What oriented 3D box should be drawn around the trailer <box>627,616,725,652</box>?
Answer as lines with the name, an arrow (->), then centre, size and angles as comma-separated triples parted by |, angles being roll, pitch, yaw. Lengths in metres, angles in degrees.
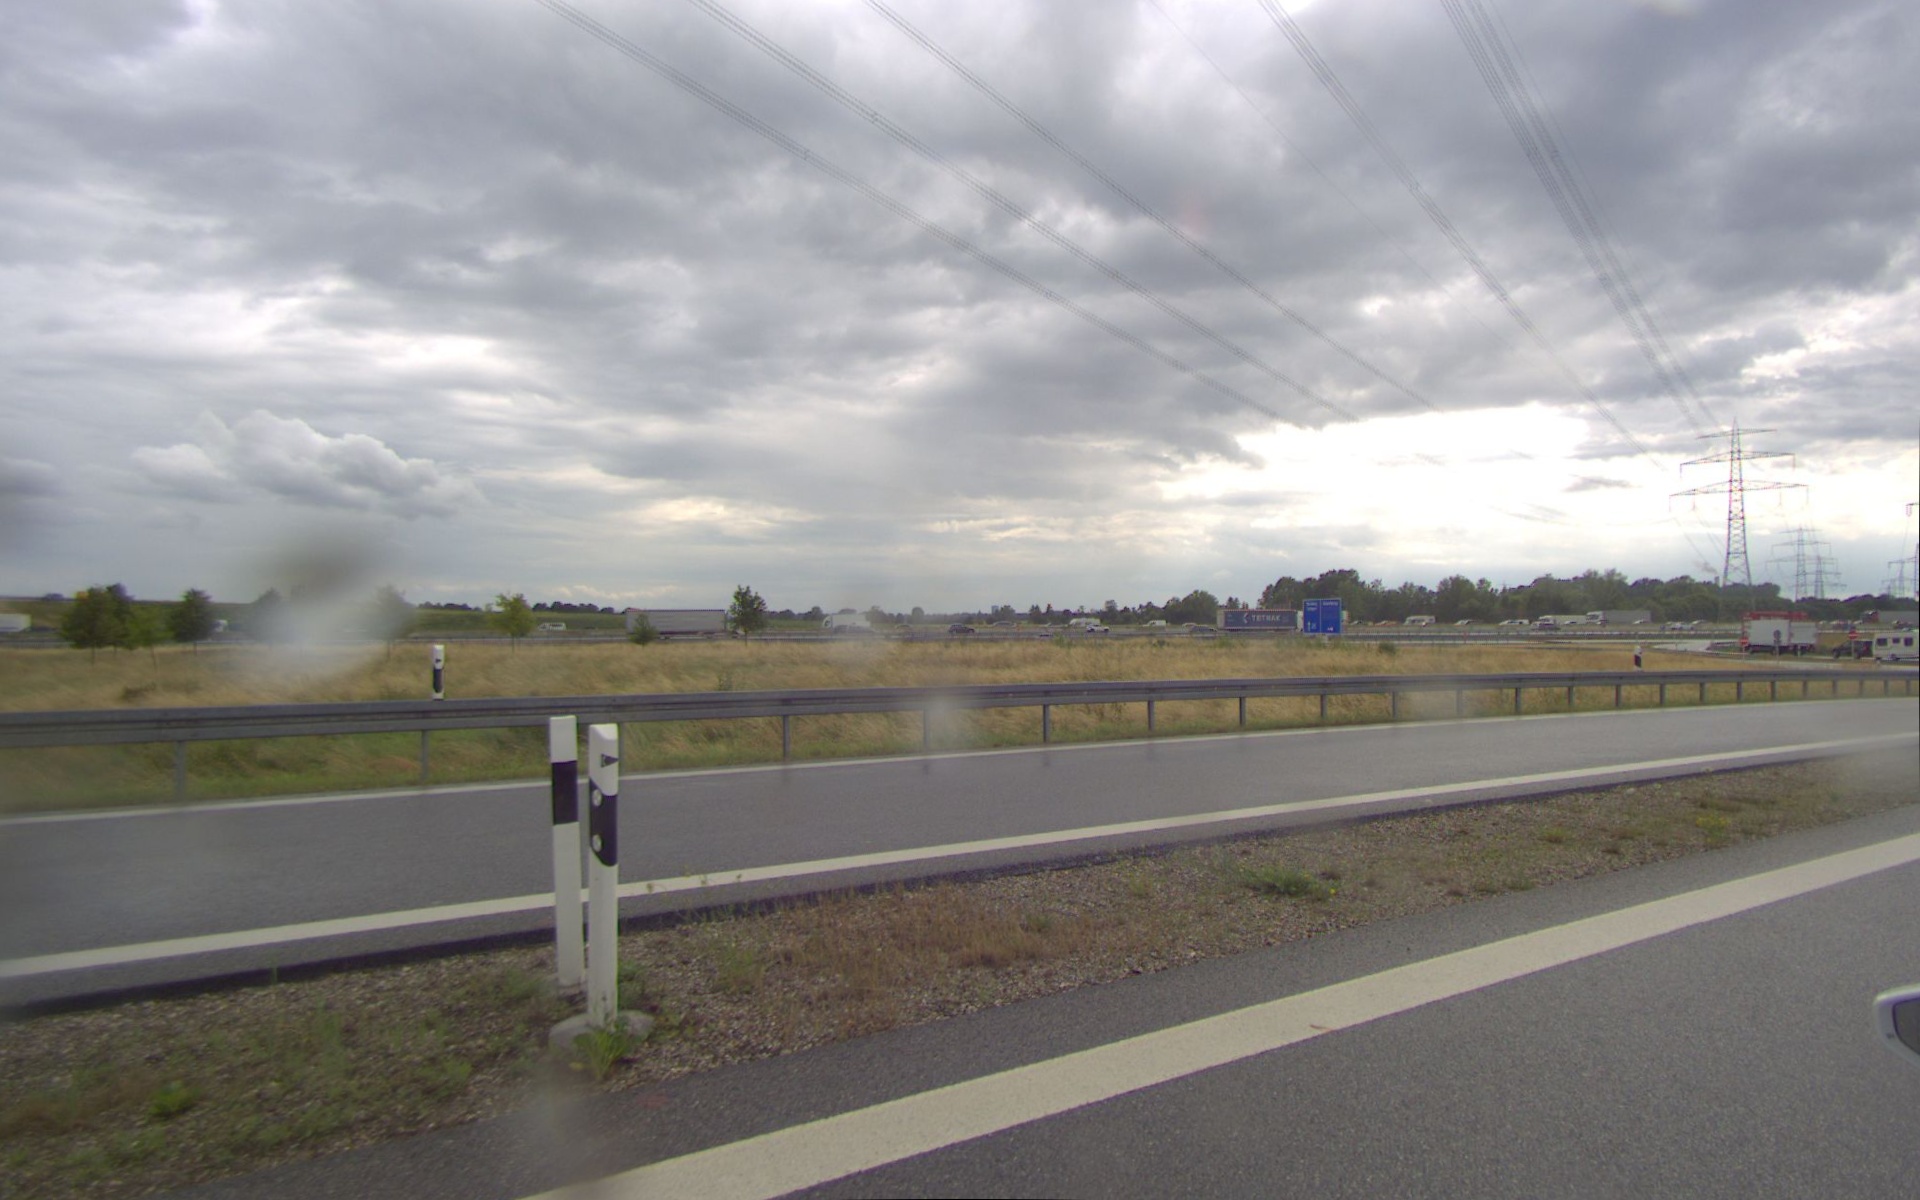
trailer -> -40.448, 4.788, 143.551 | 13.171, 4.678, 3.472 | -2, 0, -16

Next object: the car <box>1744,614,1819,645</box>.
car -> 85.159, 3.014, 104.262 | 3.082, 2.991, 7.212 | -2, 0, 13

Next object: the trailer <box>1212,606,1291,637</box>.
trailer -> 48.628, 3.578, 167.602 | 13.082, 4.698, 3.048 | -2, 0, -16

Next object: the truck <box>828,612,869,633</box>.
truck -> -20.355, 4.053, 183.341 | 6.988, 3.517, 1.994 | -2, 0, -14

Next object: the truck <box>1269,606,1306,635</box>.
truck -> 55.209, 3.434, 169.479 | 4.989, 4.539, 3.068 | -2, 0, -16

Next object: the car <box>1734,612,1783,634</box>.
car -> 132.651, 3.863, 166.746 | 8.938, 3.658, 3.367 | 1, -1, -30

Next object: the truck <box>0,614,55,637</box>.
truck -> -143.543, 3.980, 150.180 | 11.844, 3.133, 3.222 | -3, 0, -15

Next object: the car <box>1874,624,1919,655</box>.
car -> 80.052, 3.288, 84.567 | 2.311, 2.338, 5.131 | -2, 0, 13

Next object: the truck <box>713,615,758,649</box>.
truck -> -32.583, 4.617, 145.819 | 6.164, 4.627, 3.340 | -2, 0, -16
